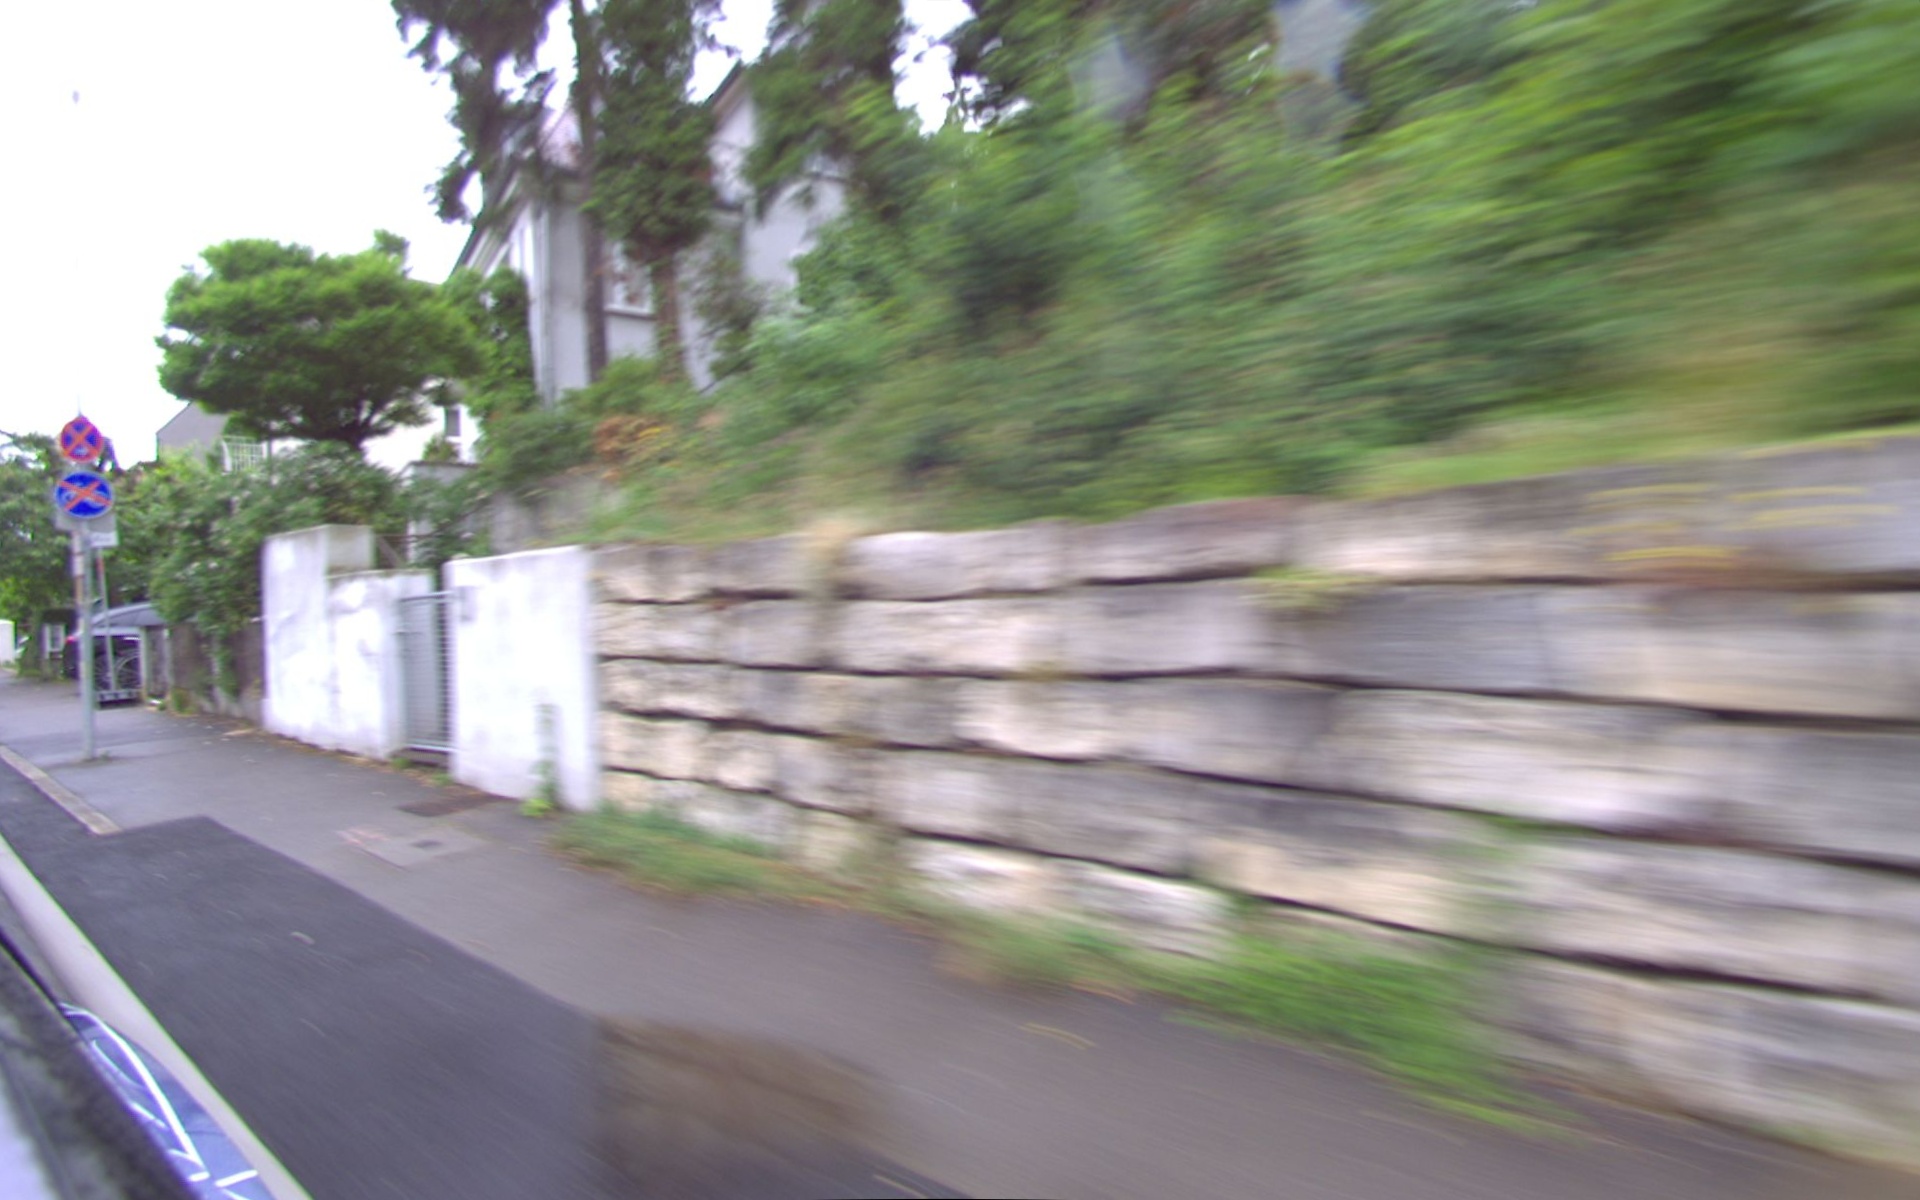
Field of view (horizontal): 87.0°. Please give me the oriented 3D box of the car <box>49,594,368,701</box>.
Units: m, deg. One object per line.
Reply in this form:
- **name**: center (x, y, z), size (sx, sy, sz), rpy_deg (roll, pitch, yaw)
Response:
- **car**: center (-12.411, 0.743, 16.915), size (3.942, 1.537, 1.787), rpy_deg (-2, 1, -2)

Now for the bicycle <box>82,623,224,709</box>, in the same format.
- **bicycle**: center (-11.943, 0.957, 15.042), size (1.597, 1.139, 0.444), rpy_deg (-2, 2, -36)
